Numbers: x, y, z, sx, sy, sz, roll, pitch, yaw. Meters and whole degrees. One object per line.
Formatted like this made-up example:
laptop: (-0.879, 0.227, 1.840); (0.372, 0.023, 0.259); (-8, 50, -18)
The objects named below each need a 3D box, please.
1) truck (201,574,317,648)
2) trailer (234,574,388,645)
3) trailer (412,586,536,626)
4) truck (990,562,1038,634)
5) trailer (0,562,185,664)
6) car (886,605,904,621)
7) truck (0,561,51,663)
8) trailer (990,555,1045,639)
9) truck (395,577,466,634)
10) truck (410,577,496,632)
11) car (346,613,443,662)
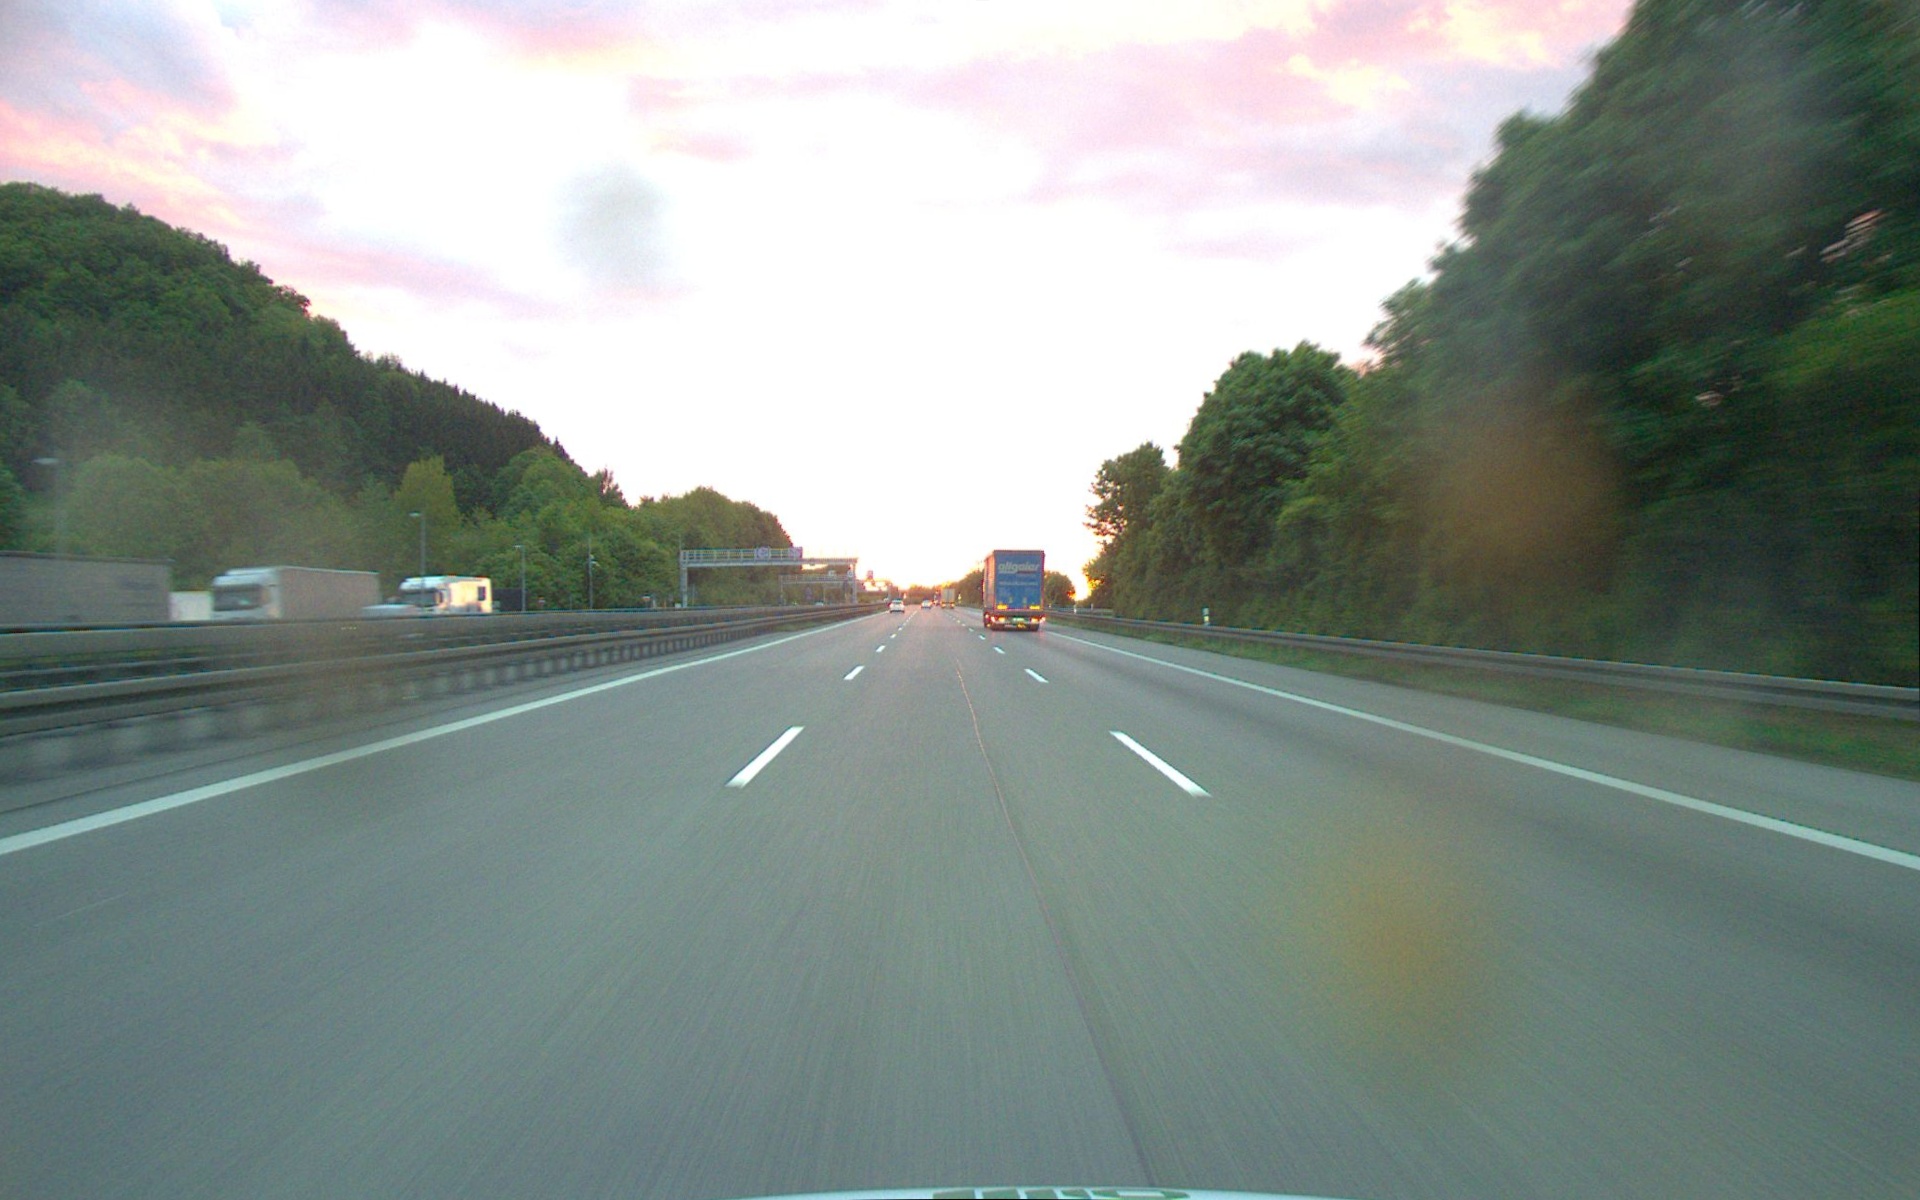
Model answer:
truck: (-34.297, 0.497, 81.240); (2.814, 3.484, 6.726); (1, 0, 0)
trailer: (-34.321, 0.436, 88.299); (2.815, 3.484, 13.849); (1, 0, 0)
trailer: (-46.683, 0.556, 159.522); (3.003, 3.743, 13.321); (1, 0, 29)
truck: (3.142, -0.107, 96.995); (2.680, 4.066, 5.850); (1, 0, 1)
trailer: (-34.221, 0.384, 63.228); (2.814, 3.484, 13.569); (1, 0, 0)
car: (-7.708, 1.534, 197.304); (1.973, 1.780, 3.902); (-3, 0, -2)
truck: (-34.201, 0.411, 56.280); (2.814, 3.484, 6.726); (1, 0, 0)
trailer: (3.004, -0.123, 90.071); (2.714, 4.158, 13.740); (1, 0, 1)
truck: (-33.719, 0.331, 105.514); (2.817, 3.484, 6.719); (0, 0, -5)
truck: (-34.340, 0.265, 112.604); (2.817, 3.484, 13.774); (0, 0, -5)
car: (-20.375, 1.313, 59.759); (1.953, 1.621, 4.739); (1, 0, -1)
